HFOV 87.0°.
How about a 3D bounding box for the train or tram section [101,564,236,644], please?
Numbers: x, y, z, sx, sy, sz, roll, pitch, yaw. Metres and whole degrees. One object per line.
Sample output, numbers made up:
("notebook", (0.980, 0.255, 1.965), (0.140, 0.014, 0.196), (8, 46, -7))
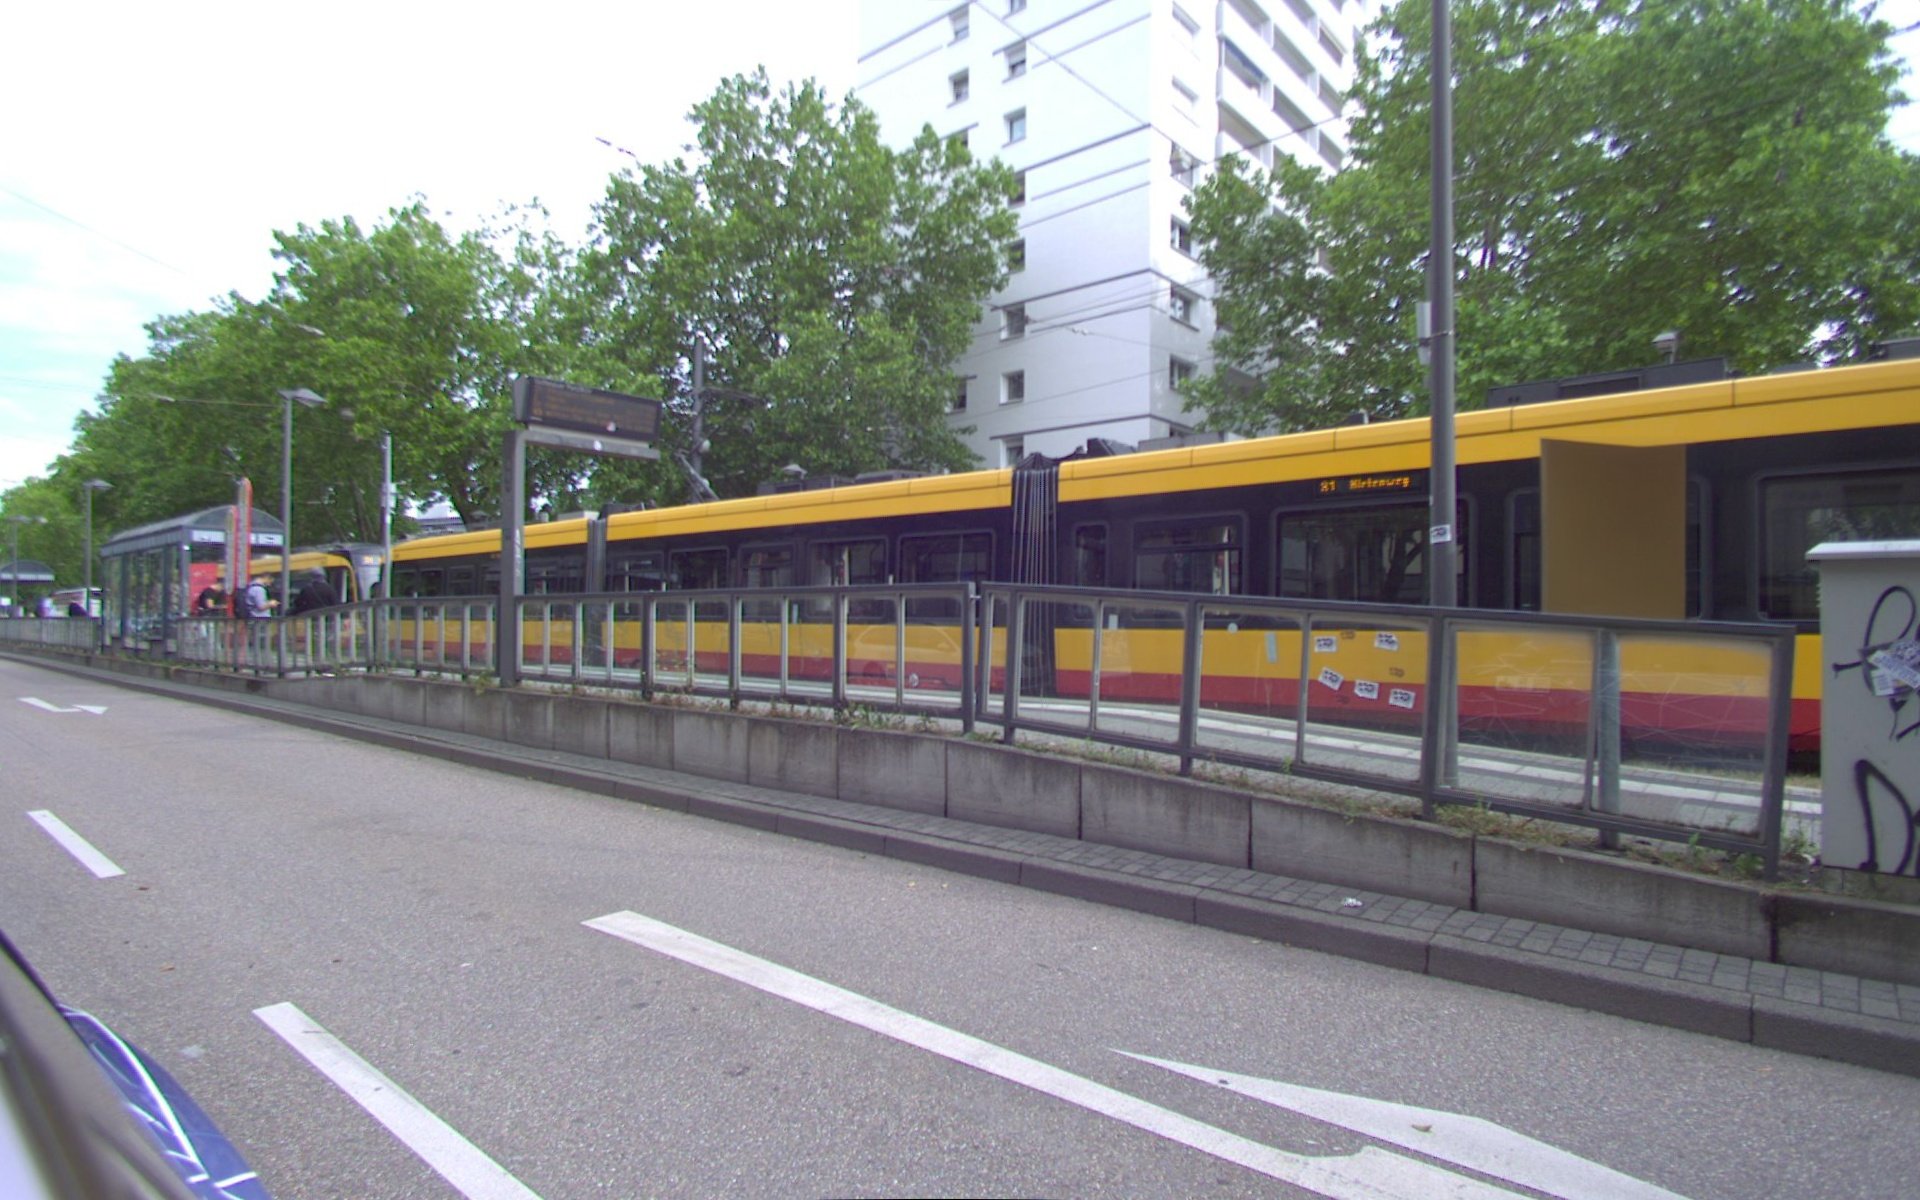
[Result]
("train or tram section", (-39.629, 0.222, 50.431), (12.533, 3.588, 3.060), (-1, 0, 41))

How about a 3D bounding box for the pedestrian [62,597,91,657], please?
("pedestrian", (-24.389, 0.731, 27.942), (0.730, 1.645, 0.506), (-1, 0, 42))

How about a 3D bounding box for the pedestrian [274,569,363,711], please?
("pedestrian", (-9.382, 0.571, 14.828), (0.808, 2.029, 0.754), (-1, 0, 4))

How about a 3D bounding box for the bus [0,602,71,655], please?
("bus", (-37.938, 1.113, 41.312), (3.998, 2.029, 1.973), (-1, 0, 41))

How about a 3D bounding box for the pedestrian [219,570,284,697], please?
("pedestrian", (-11.686, 0.529, 16.721), (0.742, 2.029, 0.821), (-1, 0, -26))

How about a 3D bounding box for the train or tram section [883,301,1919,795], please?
("train or tram section", (5.858, -0.365, 10.460), (15.841, 3.615, 3.028), (-1, 0, 41))

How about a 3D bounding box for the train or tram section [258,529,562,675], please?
("train or tram section", (-17.347, 0.111, 30.835), (15.287, 3.558, 3.028), (-1, 0, 41))

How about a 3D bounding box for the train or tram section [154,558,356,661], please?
("train or tram section", (-29.014, 0.387, 41.062), (15.763, 3.558, 3.028), (-1, 0, 41))

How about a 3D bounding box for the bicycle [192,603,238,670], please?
("bicycle", (-14.147, 0.684, 19.212), (1.289, 1.231, 0.414), (-1, 0, 41))

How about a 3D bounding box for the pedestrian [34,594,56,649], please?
("pedestrian", (-27.979, 0.647, 30.944), (0.392, 1.645, 0.474), (-1, 0, 42))

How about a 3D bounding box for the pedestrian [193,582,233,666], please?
("pedestrian", (-14.775, 0.464, 20.028), (0.471, 1.645, 0.526), (-1, 0, 39))

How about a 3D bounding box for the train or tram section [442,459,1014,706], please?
("train or tram section", (-5.852, -0.193, 20.733), (15.287, 3.558, 3.028), (-1, 0, 41))
